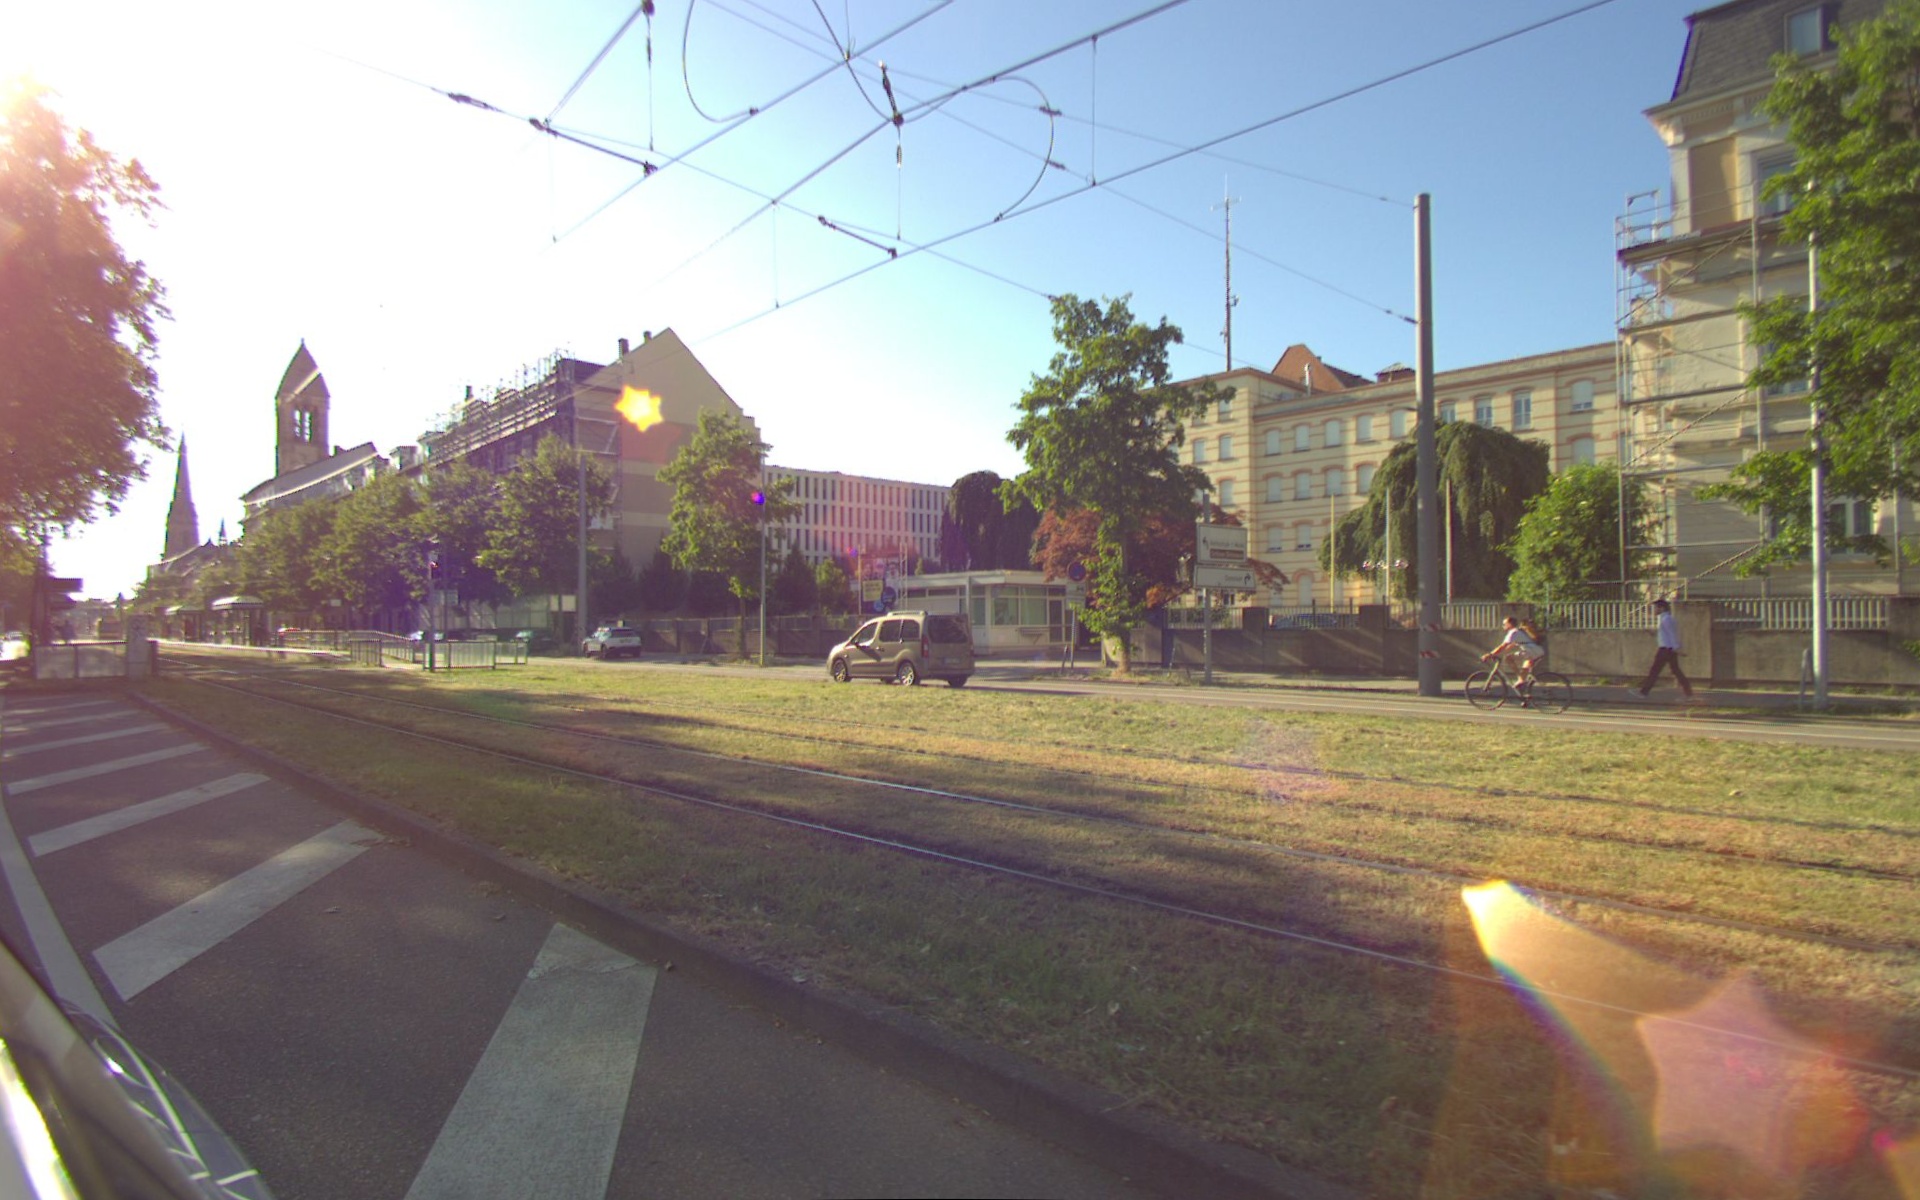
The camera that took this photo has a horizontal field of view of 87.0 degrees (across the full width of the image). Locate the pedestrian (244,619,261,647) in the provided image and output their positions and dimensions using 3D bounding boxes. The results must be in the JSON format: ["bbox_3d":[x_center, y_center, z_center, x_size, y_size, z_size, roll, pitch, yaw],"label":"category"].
[{"bbox_3d":[-43.375,2.022,62.045,0.655,1.703,0.671,-2,0,45],"label":"pedestrian"}]

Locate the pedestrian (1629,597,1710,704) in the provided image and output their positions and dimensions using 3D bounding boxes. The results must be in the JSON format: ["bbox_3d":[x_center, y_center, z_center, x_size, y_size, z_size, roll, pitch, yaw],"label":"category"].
[{"bbox_3d":[13.369,0.943,19.088,0.848,1.942,1.087,3,-3,-44],"label":"pedestrian"}]

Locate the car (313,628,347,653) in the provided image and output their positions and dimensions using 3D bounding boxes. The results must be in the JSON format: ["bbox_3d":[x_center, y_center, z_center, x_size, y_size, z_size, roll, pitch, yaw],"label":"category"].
[{"bbox_3d":[-58.994,3.807,94.726,1.917,2.183,3.788,-2,0,-43],"label":"car"}]

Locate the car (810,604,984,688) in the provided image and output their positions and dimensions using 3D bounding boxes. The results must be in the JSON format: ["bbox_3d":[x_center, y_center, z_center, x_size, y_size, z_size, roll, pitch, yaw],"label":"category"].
[{"bbox_3d":[-1.659,1.140,25.411,1.916,1.933,4.476,3,-4,-44],"label":"car"}]

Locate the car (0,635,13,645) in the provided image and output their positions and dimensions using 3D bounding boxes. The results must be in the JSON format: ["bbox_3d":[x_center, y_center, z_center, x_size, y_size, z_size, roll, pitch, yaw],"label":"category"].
[{"bbox_3d":[-136.990,5.733,145.187,1.613,1.511,4.004,4,-4,-43],"label":"car"}]

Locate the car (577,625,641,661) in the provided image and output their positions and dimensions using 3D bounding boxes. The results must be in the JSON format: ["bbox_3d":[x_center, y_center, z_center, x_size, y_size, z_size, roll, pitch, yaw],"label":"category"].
[{"bbox_3d":[-17.393,2.092,50.050,1.700,1.598,4.072,-2,0,-39],"label":"car"}]

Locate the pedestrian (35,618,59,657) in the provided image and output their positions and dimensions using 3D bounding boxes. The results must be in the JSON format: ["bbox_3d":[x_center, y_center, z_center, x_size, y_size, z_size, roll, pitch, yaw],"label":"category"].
[{"bbox_3d":[-41.255,1.693,45.726,0.748,1.703,0.679,-2,0,-43],"label":"pedestrian"}]

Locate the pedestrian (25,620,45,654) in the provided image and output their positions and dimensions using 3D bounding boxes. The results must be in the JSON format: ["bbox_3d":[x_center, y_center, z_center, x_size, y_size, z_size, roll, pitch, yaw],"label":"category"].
[{"bbox_3d":[-46.530,1.859,50.909,0.671,1.703,0.895,-2,0,-43],"label":"pedestrian"}]

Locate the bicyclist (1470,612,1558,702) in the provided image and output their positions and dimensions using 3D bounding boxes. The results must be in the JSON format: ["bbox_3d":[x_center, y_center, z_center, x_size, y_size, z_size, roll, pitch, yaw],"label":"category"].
[{"bbox_3d":[9.689,0.972,17.709,0.765,1.492,1.135,-2,0,-43],"label":"bicyclist"}]

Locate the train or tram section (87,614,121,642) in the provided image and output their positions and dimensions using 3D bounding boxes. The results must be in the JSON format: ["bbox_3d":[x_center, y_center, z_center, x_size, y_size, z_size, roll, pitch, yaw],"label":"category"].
[{"bbox_3d":[-117.565,3.841,138.890,2.835,3.714,14.575,1,-2,-43],"label":"train or tram section"}]

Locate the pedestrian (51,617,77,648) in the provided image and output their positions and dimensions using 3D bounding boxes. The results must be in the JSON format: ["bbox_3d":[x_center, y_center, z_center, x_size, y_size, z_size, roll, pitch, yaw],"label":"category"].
[{"bbox_3d":[-51.534,1.873,58.220,0.625,1.735,0.907,-2,0,13],"label":"pedestrian"}]

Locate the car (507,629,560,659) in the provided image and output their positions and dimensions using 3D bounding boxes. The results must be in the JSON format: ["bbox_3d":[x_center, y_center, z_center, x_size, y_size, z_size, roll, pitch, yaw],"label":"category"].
[{"bbox_3d":[-24.616,2.485,58.378,1.700,1.598,4.072,-2,0,-39],"label":"car"}]

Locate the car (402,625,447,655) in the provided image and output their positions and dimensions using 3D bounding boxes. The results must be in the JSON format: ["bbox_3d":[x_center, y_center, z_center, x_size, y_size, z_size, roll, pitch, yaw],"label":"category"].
[{"bbox_3d":[-38.810,2.897,73.281,1.969,2.029,4.005,-2,0,-41],"label":"car"}]

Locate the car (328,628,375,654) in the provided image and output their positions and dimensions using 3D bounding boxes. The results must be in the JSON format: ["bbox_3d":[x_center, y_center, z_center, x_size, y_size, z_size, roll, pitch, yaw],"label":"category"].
[{"bbox_3d":[-36.300,2.435,60.322,1.587,1.418,3.855,-2,0,-43],"label":"car"}]

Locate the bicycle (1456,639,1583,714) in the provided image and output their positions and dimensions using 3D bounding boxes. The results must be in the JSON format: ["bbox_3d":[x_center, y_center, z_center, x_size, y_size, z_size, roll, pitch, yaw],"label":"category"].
[{"bbox_3d":[9.743,1.299,17.669,0.765,1.202,1.757,-2,0,-43],"label":"bicycle"}]

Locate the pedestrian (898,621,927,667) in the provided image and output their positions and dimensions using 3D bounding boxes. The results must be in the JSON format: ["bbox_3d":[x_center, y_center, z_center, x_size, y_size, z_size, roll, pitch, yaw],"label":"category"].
[{"bbox_3d":[-1.747,1.593,37.115,0.812,1.660,0.716,-2,-3,41],"label":"pedestrian"}]

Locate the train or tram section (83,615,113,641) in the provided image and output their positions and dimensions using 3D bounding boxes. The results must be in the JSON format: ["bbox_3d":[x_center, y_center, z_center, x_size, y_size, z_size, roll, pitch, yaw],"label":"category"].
[{"bbox_3d":[-127.474,4.177,149.577,2.835,3.703,14.575,1,-2,-43],"label":"train or tram section"}]
